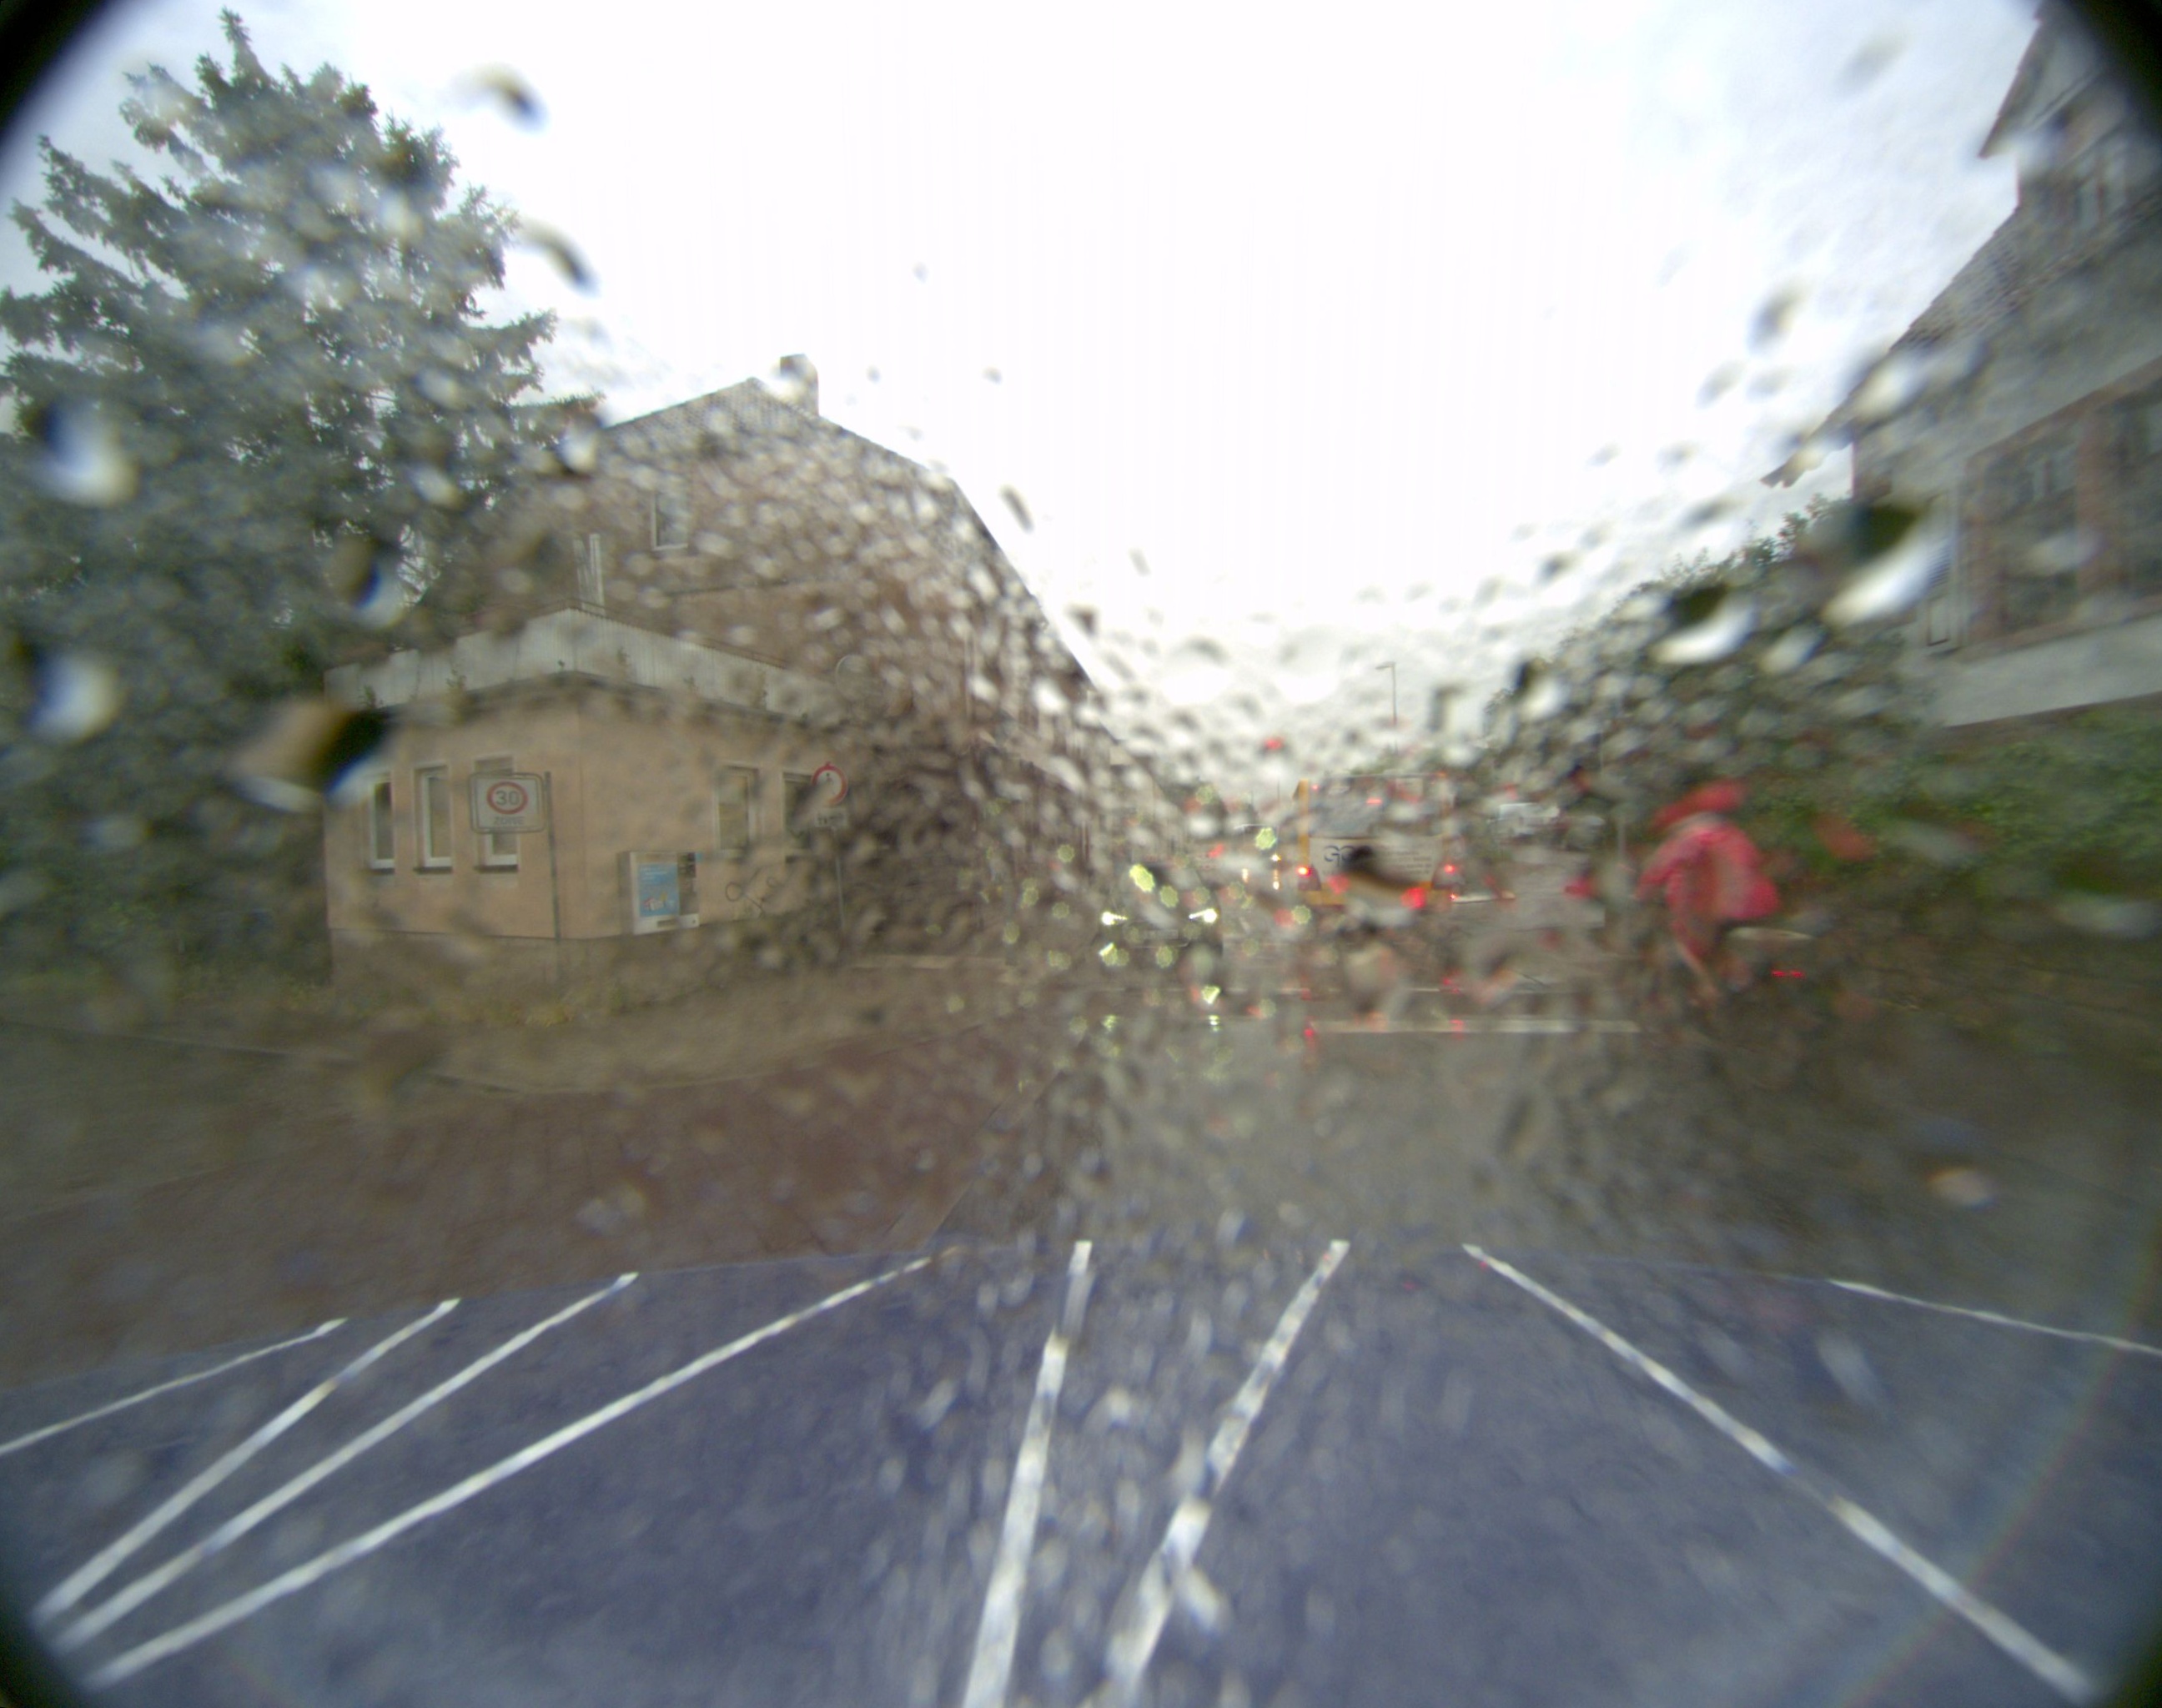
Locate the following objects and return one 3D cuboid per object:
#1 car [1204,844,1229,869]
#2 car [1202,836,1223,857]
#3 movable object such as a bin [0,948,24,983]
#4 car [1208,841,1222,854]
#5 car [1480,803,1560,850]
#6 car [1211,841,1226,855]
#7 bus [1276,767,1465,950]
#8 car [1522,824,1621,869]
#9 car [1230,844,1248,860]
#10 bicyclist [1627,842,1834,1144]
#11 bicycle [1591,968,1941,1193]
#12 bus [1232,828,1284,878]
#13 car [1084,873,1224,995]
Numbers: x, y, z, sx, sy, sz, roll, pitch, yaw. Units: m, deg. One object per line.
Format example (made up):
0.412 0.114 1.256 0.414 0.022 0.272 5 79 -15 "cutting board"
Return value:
10.490 0.161 58.734 1.779 1.788 4.190 -3 1 10 "car"
12.298 -0.741 70.991 1.779 1.788 4.190 -3 1 10 "car"
-25.144 2.603 17.567 0.741 0.762 0.700 -2 2 29 "movable object such as a bin"
18.485 -0.924 104.657 1.779 1.602 4.190 -3 1 10 "car"
21.503 -1.318 37.400 1.997 2.051 4.190 -3 1 10 "car"
17.319 -0.825 95.844 1.779 1.602 4.190 -4 1 10 "car"
6.245 0.024 18.391 2.810 2.922 11.952 -2 0 14 "bus"
20.628 -0.300 32.149 1.997 1.705 4.191 -3 0 10 "car"
17.607 -0.276 84.671 1.779 1.602 4.190 -3 1 10 "car"
4.073 0.831 4.830 0.658 1.759 0.704 -3 -1 9 "bicyclist"
4.085 1.285 4.788 0.662 0.865 1.936 -3 -1 9 "bicycle"
13.722 -0.200 59.761 3.438 3.392 13.880 -1 1 12 "bus"
1.313 1.128 12.122 1.779 1.349 4.190 -3 1 10 "car"
